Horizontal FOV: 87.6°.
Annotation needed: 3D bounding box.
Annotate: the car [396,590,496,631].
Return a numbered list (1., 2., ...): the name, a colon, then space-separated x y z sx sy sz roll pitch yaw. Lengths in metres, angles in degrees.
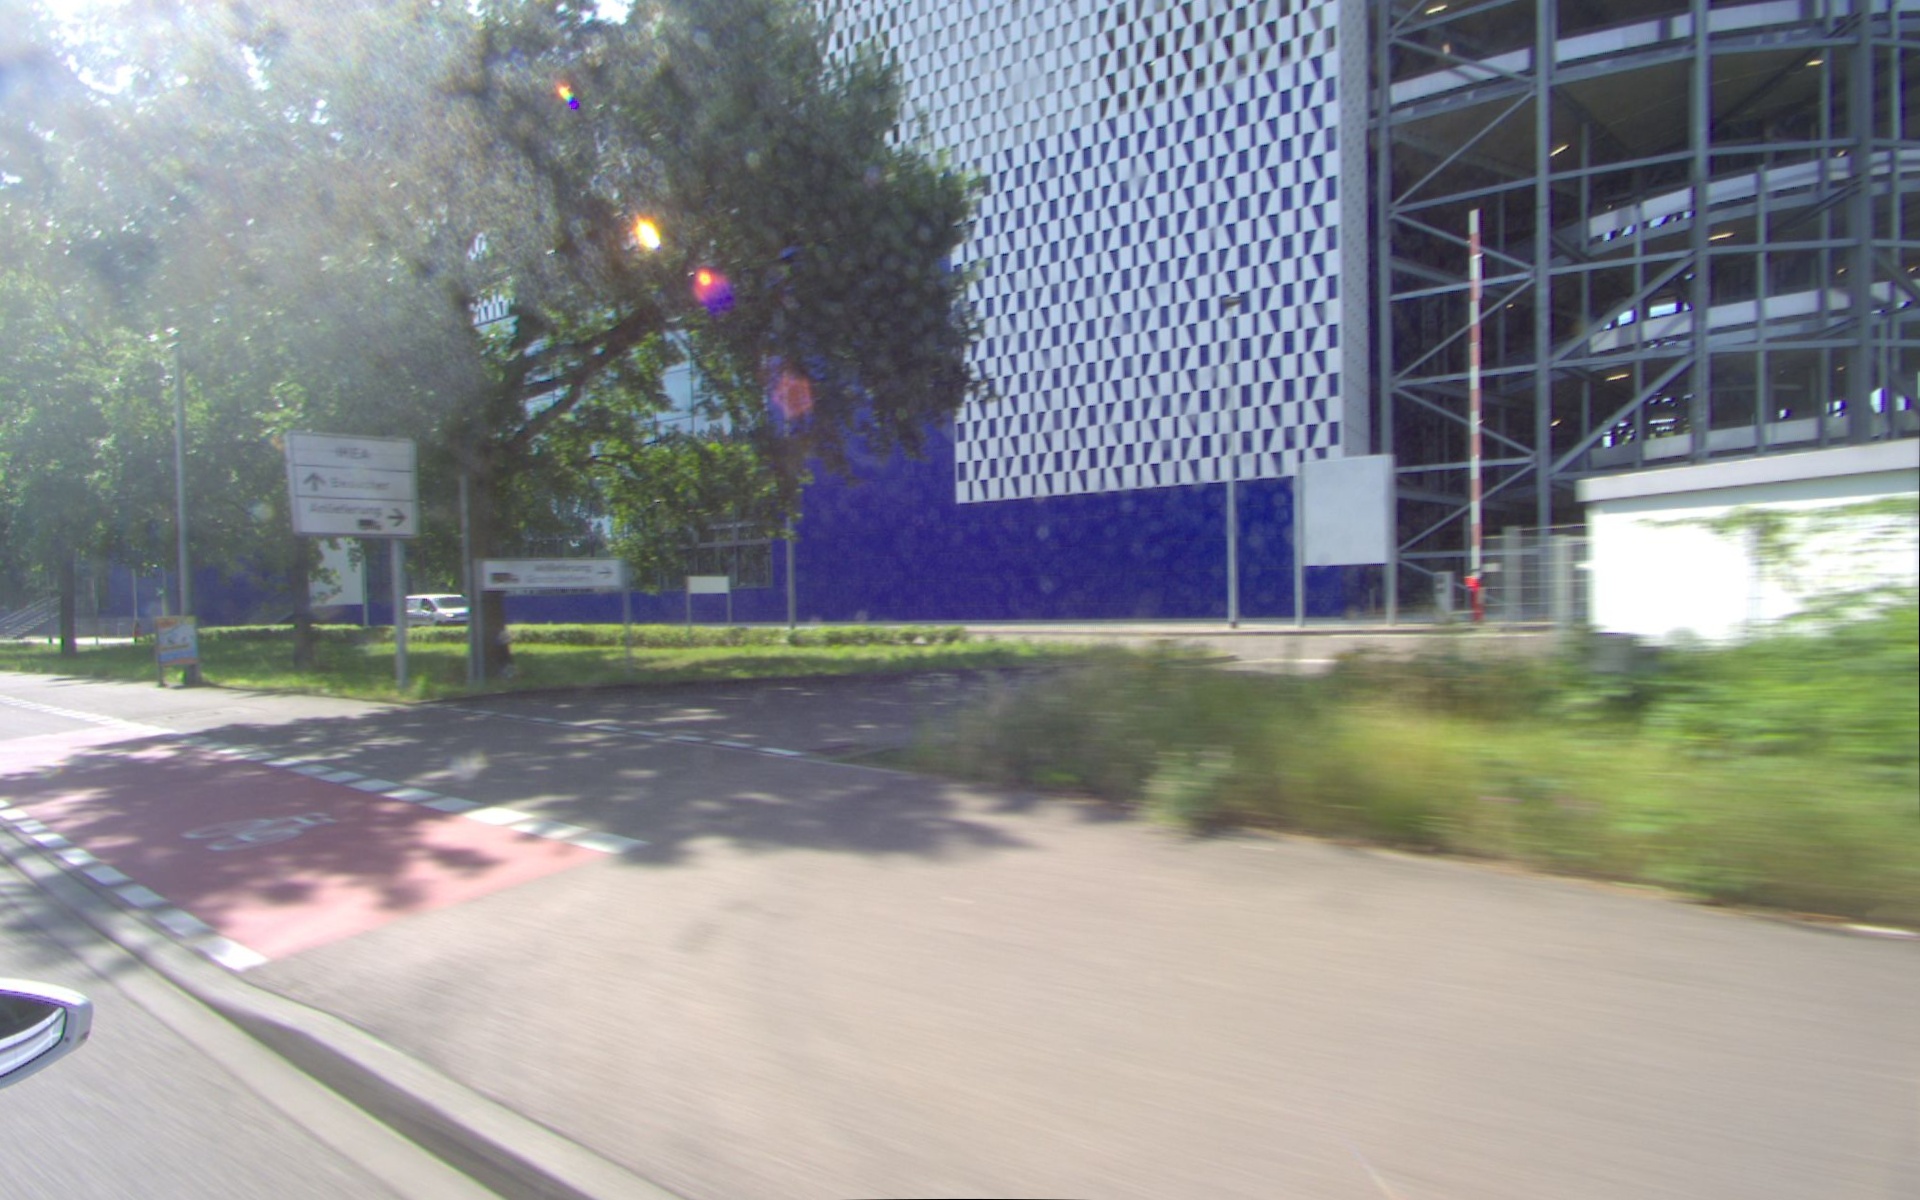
1. car: -21.930 0.460 42.696 4.240 1.660 1.848 -1 -1 31
